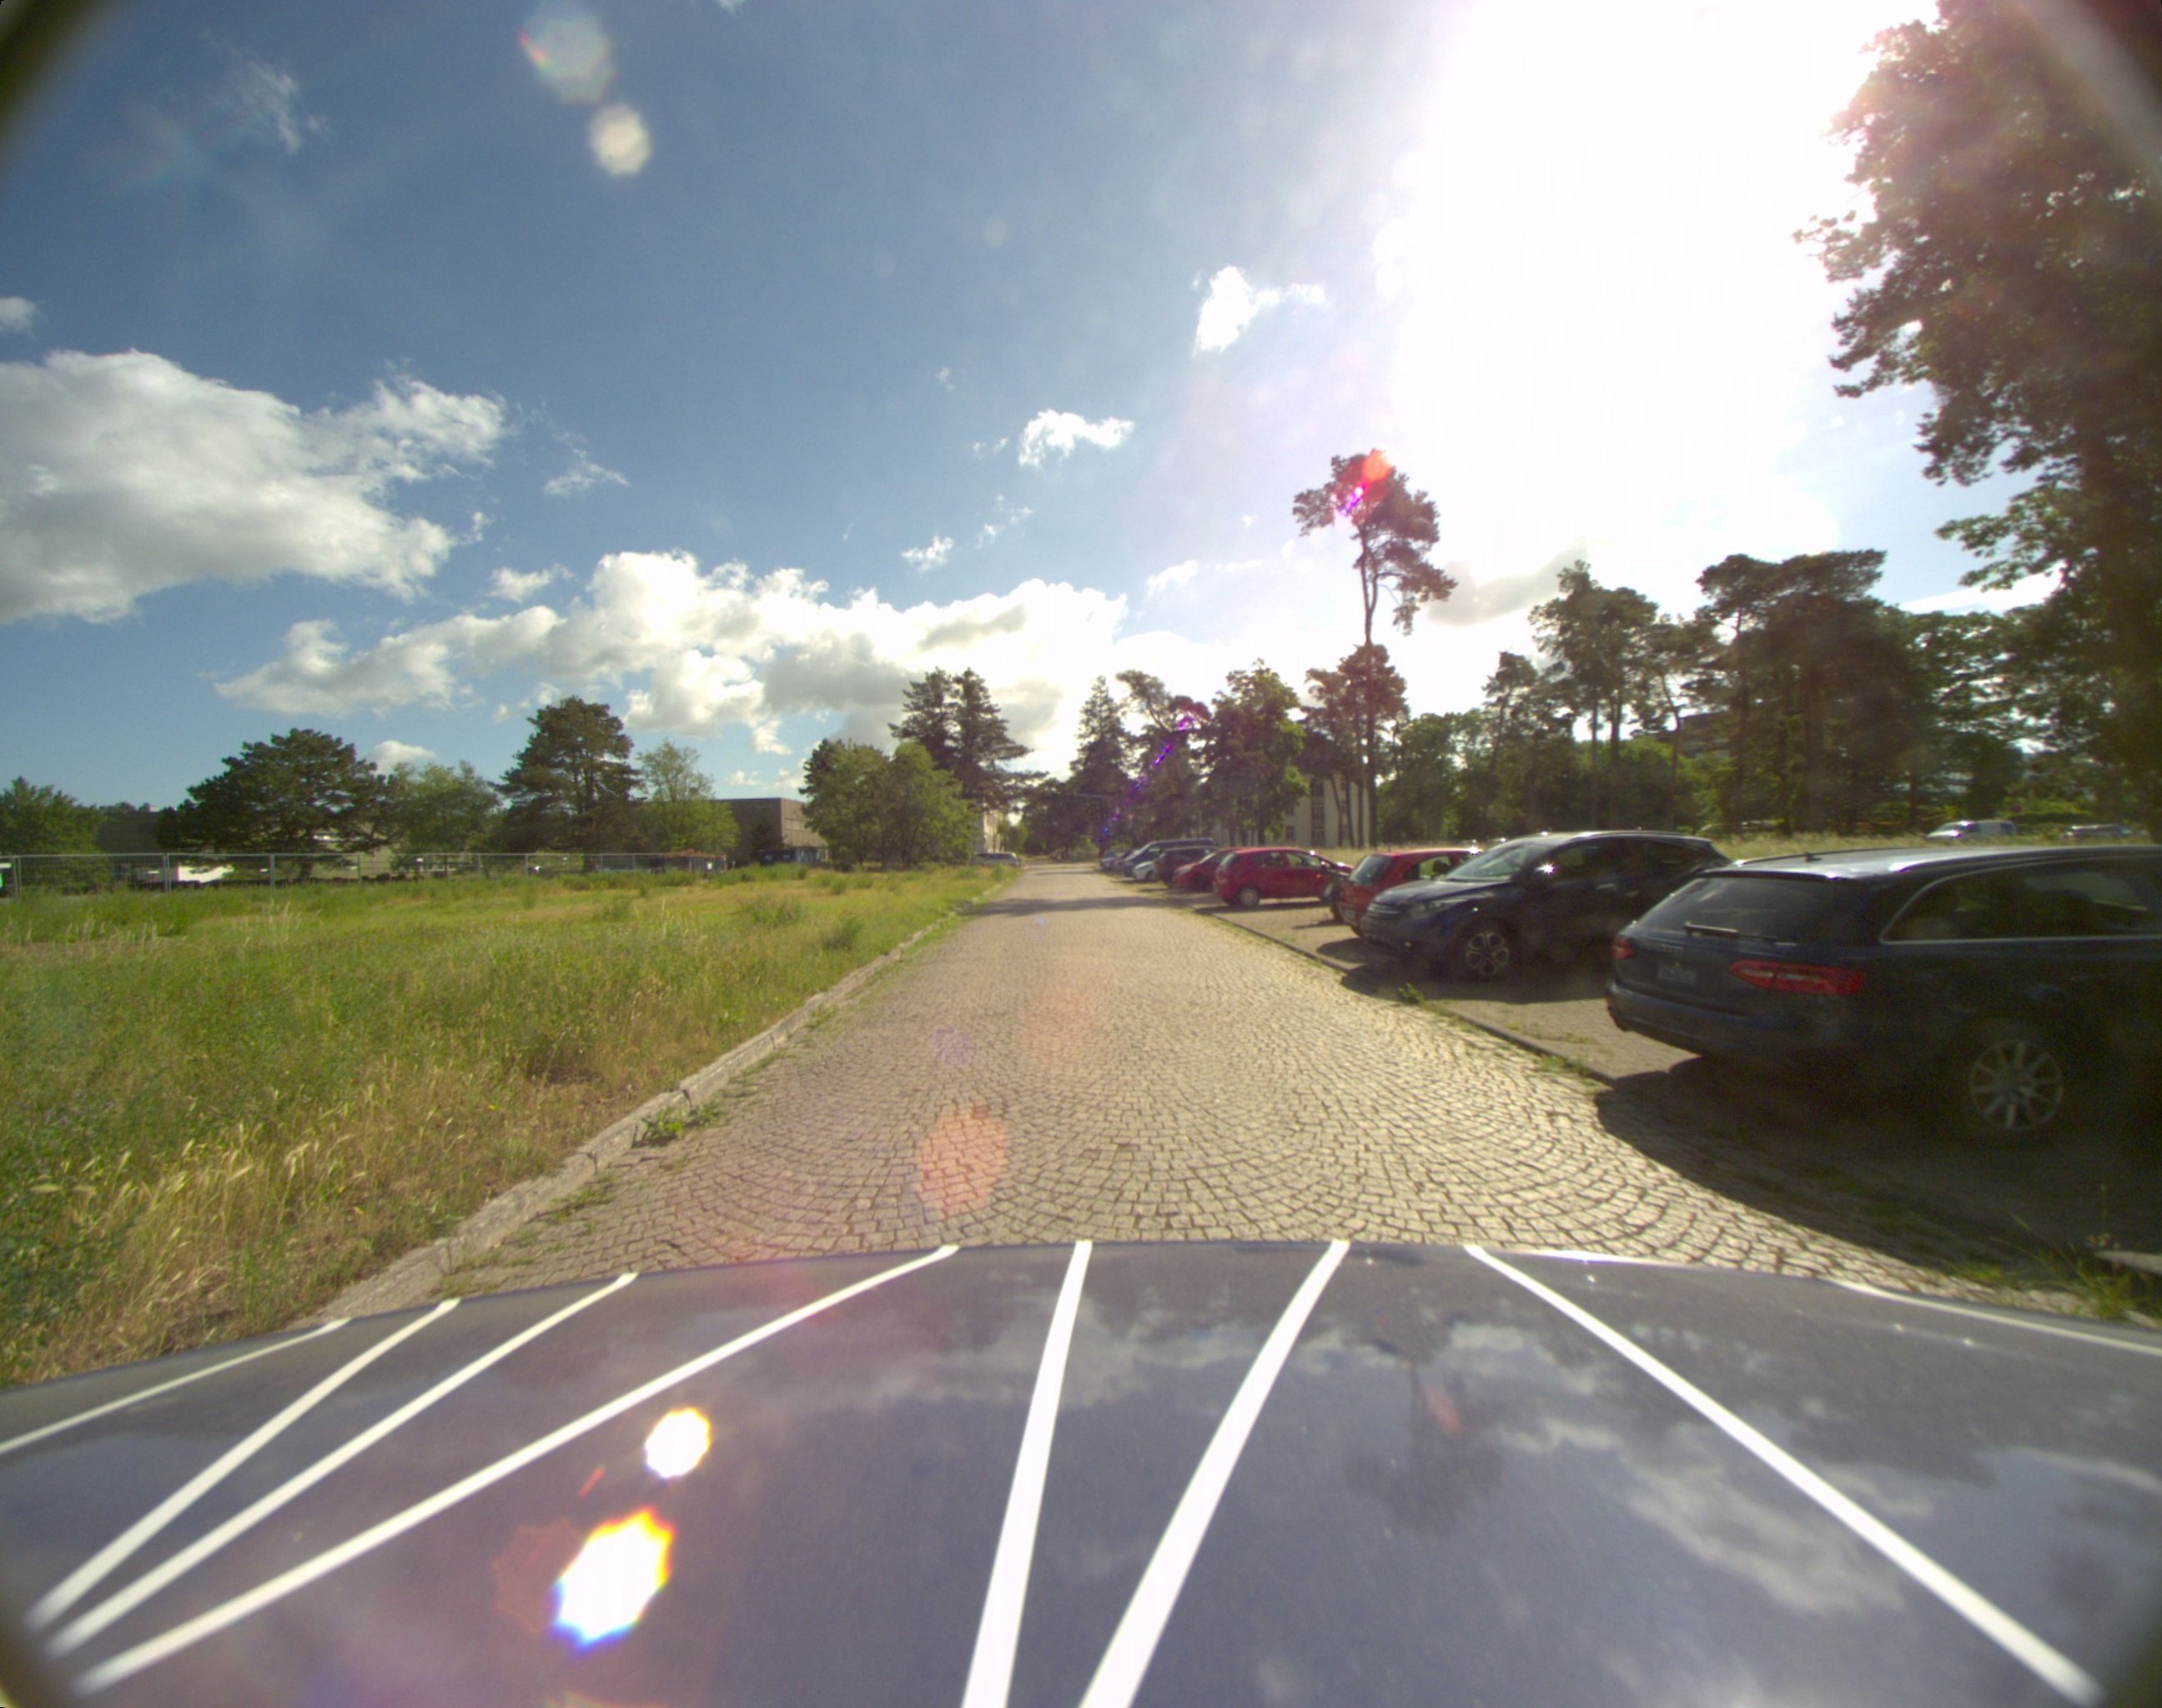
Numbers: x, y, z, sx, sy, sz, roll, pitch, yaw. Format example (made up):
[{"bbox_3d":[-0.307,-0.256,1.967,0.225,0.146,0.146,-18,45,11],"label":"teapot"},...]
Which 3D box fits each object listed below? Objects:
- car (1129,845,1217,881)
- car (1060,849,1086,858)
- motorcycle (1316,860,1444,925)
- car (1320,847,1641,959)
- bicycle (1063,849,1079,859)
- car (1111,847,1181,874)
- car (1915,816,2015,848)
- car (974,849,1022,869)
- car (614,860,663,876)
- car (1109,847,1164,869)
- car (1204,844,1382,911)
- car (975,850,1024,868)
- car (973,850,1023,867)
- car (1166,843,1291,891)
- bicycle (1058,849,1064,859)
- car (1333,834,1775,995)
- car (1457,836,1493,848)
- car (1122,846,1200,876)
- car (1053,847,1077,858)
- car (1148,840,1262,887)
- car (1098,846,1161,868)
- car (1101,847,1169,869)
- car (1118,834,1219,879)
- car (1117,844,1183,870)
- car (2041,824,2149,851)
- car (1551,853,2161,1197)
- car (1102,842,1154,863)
[{"bbox_3d":[4.325,0.406,36.071,3.827,1.432,1.682,-3,1,-5],"label":"car"},{"bbox_3d":[-1.355,-0.084,125.866,4.045,1.514,1.816,-1,1,-10],"label":"car"},{"bbox_3d":[5.840,0.744,14.881,2.248,1.155,0.577,-2,1,-1],"label":"motorcycle"},{"bbox_3d":[5.957,0.692,11.683,3.933,1.424,1.842,-2,0,-1],"label":"car"},{"bbox_3d":[-1.482,-0.029,110.998,2.114,1.276,0.621,-7,2,-5],"label":"bicycle"},{"bbox_3d":[3.963,0.402,46.844,4.087,1.417,1.922,-3,1,-1],"label":"car"},{"bbox_3d":[62.288,-1.523,53.591,4.858,2.152,1.956,-1,1,-1],"label":"car"},{"bbox_3d":[-6.619,0.393,61.109,3.751,1.468,1.751,1,1,-4],"label":"car"},{"bbox_3d":[-45.175,1.429,77.601,3.998,1.413,1.745,-2,-1,-2],"label":"car"},{"bbox_3d":[3.792,0.264,52.389,3.640,1.227,1.759,-3,2,-1],"label":"car"},{"bbox_3d":[5.336,0.562,19.443,3.934,1.452,1.841,-3,0,-3],"label":"car"},{"bbox_3d":[-6.803,0.438,63.891,4.016,1.433,1.843,1,0,-4],"label":"car"},{"bbox_3d":[-7.512,0.382,69.056,4.526,1.456,1.838,1,1,-5],"label":"car"},{"bbox_3d":[5.185,0.440,27.034,3.934,1.440,1.866,-3,0,-3],"label":"car"},{"bbox_3d":[-2.796,-0.007,107.603,0.621,1.342,2.113,-4,1,-6],"label":"bicycle"},{"bbox_3d":[5.456,0.642,9.162,4.146,1.570,1.884,-2,0,-2],"label":"car"},{"bbox_3d":[55.211,-1.731,106.495,4.106,1.571,1.720,-1,1,0],"label":"car"},{"bbox_3d":[4.606,0.404,43.983,4.207,1.466,1.823,-3,1,-2],"label":"car"},{"bbox_3d":[-2.973,-0.346,143.162,4.227,1.903,1.816,-1,1,-12],"label":"car"},{"bbox_3d":[4.792,0.376,29.752,3.964,1.558,1.973,-3,0,-3],"label":"car"},{"bbox_3d":[3.775,0.196,59.768,4.594,1.443,1.983,-3,1,-5],"label":"car"},{"bbox_3d":[4.015,0.289,57.058,4.877,1.413,1.937,-3,2,-2],"label":"car"},{"bbox_3d":[4.390,0.112,38.639,4.730,1.957,2.005,-3,1,-2],"label":"car"},{"bbox_3d":[4.496,0.189,49.743,4.087,1.444,1.821,-3,2,-1],"label":"car"},{"bbox_3d":[62.755,-1.024,47.080,4.240,1.596,1.912,-1,1,-1],"label":"car"},{"bbox_3d":[5.576,0.800,4.484,4.370,1.436,1.921,-2,0,1],"label":"car"},{"bbox_3d":[3.828,-0.115,62.389,4.038,1.474,1.948,-3,0,-4],"label":"car"}]
